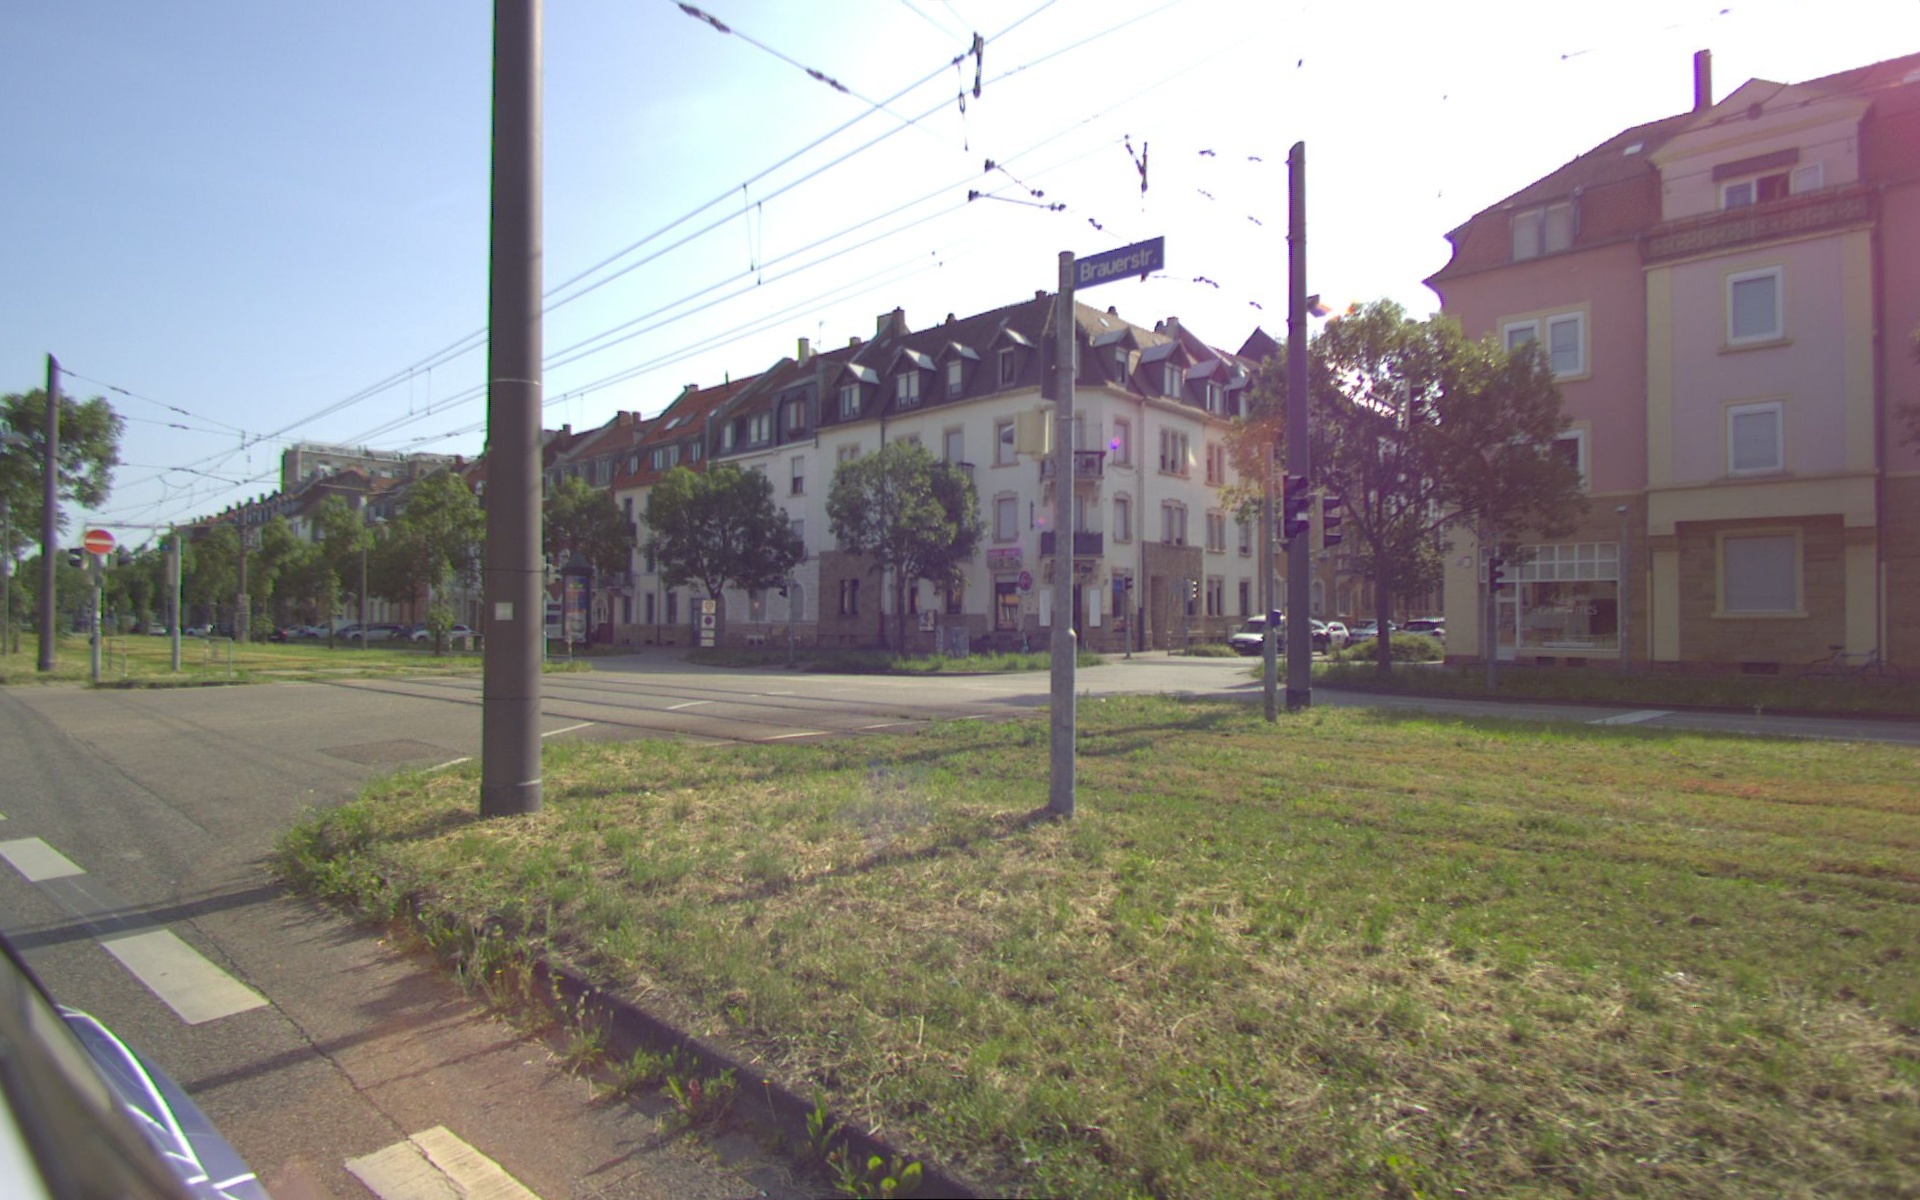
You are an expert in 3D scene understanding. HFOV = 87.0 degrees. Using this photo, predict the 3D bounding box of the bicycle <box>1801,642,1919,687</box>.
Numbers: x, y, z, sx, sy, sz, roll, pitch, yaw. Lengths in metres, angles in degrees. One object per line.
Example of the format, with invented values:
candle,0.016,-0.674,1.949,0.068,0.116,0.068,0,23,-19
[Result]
bicycle,19.858,1.404,22.343,1.947,0.895,0.462,-1,1,42

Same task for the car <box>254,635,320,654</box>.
car,-62.640,4.095,94.217,4.697,1.496,2.029,-2,1,-14

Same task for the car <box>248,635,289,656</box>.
car,-54.025,3.537,79.015,3.926,1.444,1.793,-1,1,43

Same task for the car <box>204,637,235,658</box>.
car,-66.365,4.209,90.692,1.743,1.668,4.004,-2,1,-43

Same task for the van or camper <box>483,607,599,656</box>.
van or camper,-24.043,1.767,58.280,5.828,2.593,2.205,-2,0,-12

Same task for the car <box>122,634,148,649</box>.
car,-103.502,5.211,126.876,5.382,1.642,1.971,-1,1,45

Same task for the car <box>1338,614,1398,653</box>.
car,22.268,1.793,55.115,1.833,1.863,3.946,-1,1,41

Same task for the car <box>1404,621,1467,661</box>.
car,19.901,1.683,42.296,1.568,1.472,3.364,-1,1,39

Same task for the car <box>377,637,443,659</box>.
car,-37.422,3.271,68.964,3.626,1.251,1.666,-2,0,-12

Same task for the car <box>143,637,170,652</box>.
car,-91.536,5.089,115.302,1.925,1.470,4.652,-2,1,-44

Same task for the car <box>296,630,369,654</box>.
car,-52.940,3.542,85.402,4.870,1.739,1.861,-2,0,-12

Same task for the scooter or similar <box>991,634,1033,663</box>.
scooter or similar,2.032,1.898,39.841,1.478,1.077,0.737,-1,0,22

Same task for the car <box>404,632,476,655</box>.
car,-34.309,2.865,66.844,3.948,1.326,1.666,-2,0,-12

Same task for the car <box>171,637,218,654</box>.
car,-90.779,5.374,120.045,3.934,1.739,2.005,-2,0,-12

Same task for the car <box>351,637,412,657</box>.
car,-43.442,3.503,76.023,3.626,1.251,1.666,-2,0,-12

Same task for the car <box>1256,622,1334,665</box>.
car,14.738,1.855,44.399,1.833,1.633,3.946,-1,1,41

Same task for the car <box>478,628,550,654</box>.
car,-26.729,2.462,60.747,3.626,1.341,1.666,-2,0,-12

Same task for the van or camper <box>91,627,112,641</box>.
van or camper,-137.032,5.368,161.509,5.353,2.112,1.930,-1,1,43

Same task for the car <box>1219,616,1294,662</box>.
car,13.724,1.768,46.793,1.833,1.863,3.946,-1,1,41
